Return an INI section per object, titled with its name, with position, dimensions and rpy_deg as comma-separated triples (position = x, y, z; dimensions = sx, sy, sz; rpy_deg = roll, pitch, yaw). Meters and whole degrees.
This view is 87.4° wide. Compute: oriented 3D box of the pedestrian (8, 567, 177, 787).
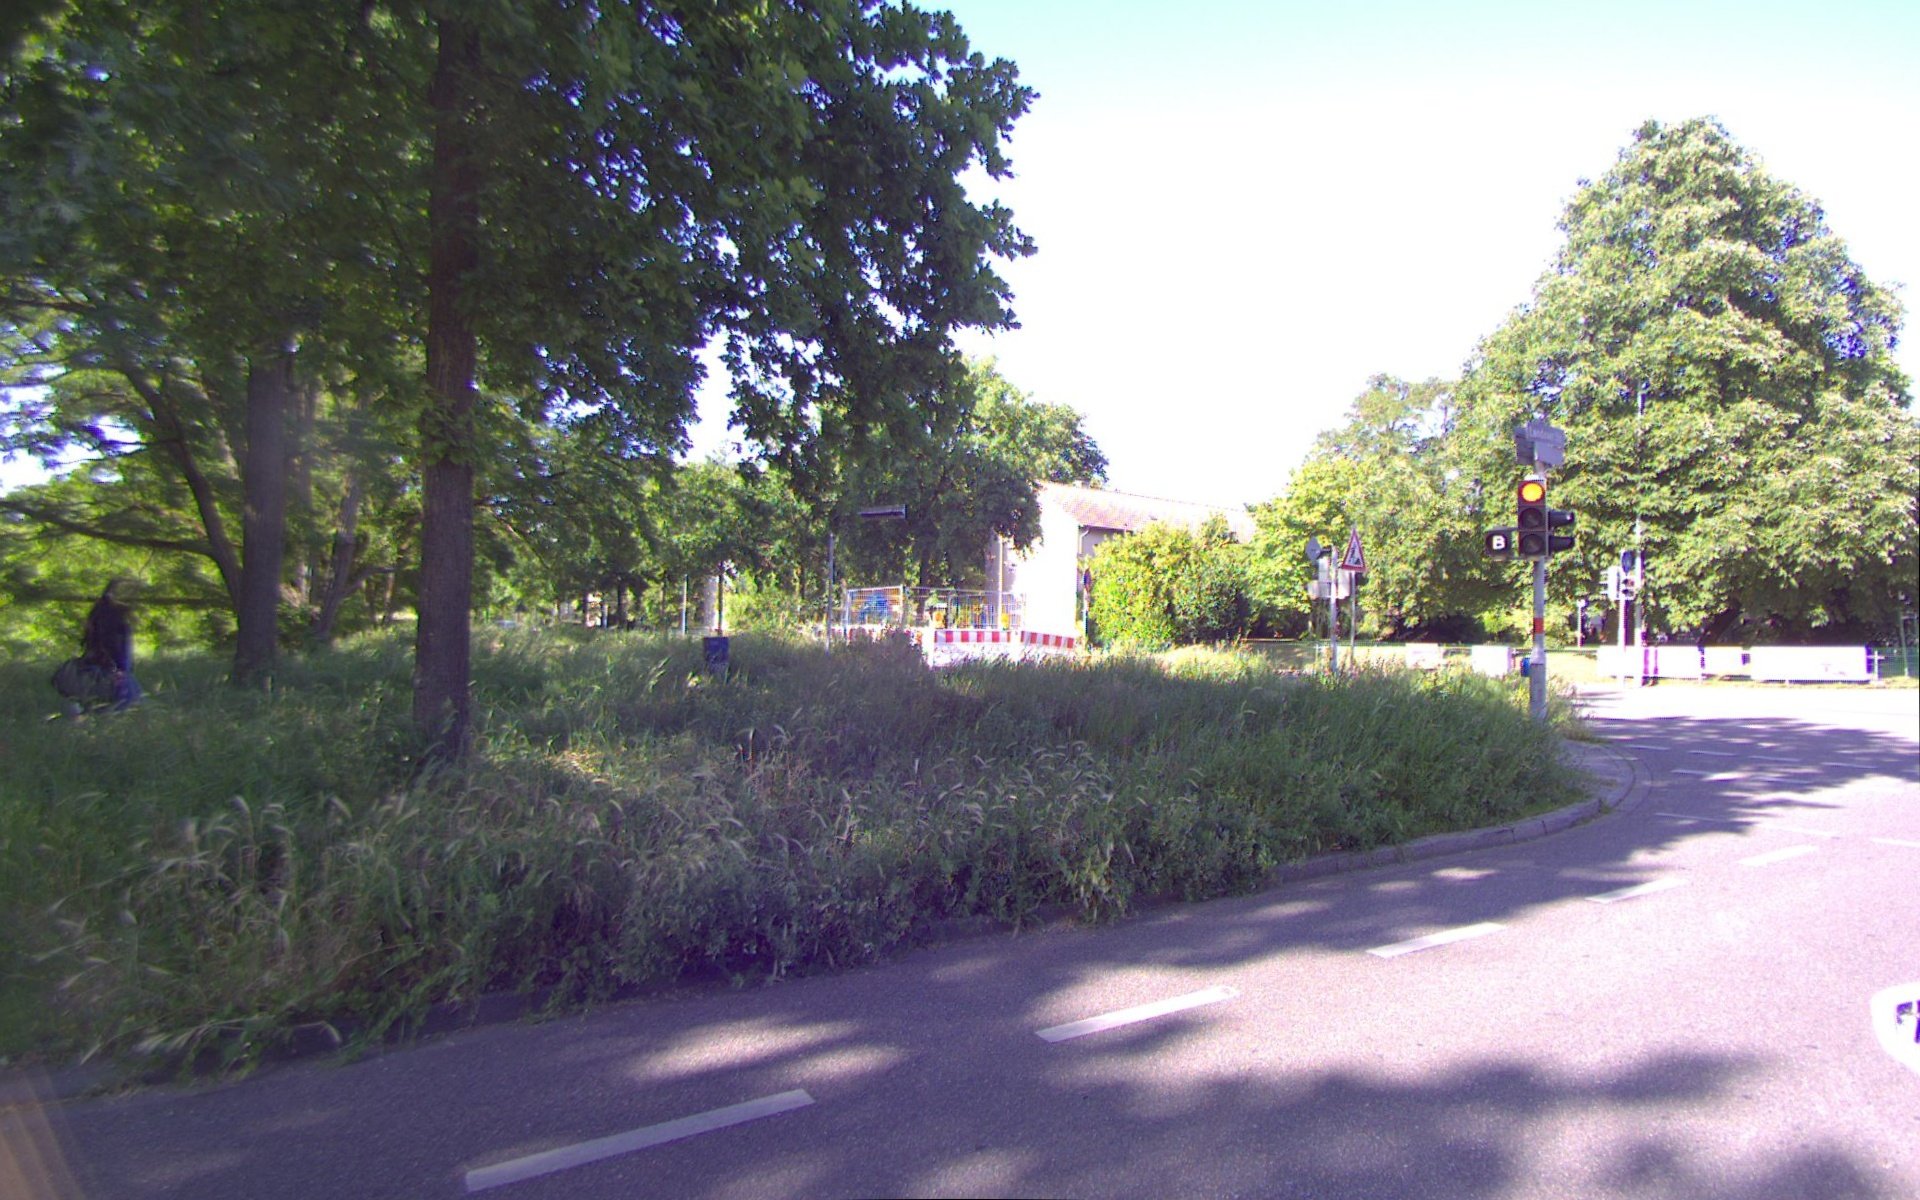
[pedestrian]
position = -7.213, 0.600, 8.412
dimensions = 0.880, 1.710, 0.909
rpy_deg = 1, 0, -29

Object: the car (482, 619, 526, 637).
[car]
position = -47.394, 2.884, 104.484
dimensions = 3.939, 1.673, 1.991
rpy_deg = 2, 0, -20
